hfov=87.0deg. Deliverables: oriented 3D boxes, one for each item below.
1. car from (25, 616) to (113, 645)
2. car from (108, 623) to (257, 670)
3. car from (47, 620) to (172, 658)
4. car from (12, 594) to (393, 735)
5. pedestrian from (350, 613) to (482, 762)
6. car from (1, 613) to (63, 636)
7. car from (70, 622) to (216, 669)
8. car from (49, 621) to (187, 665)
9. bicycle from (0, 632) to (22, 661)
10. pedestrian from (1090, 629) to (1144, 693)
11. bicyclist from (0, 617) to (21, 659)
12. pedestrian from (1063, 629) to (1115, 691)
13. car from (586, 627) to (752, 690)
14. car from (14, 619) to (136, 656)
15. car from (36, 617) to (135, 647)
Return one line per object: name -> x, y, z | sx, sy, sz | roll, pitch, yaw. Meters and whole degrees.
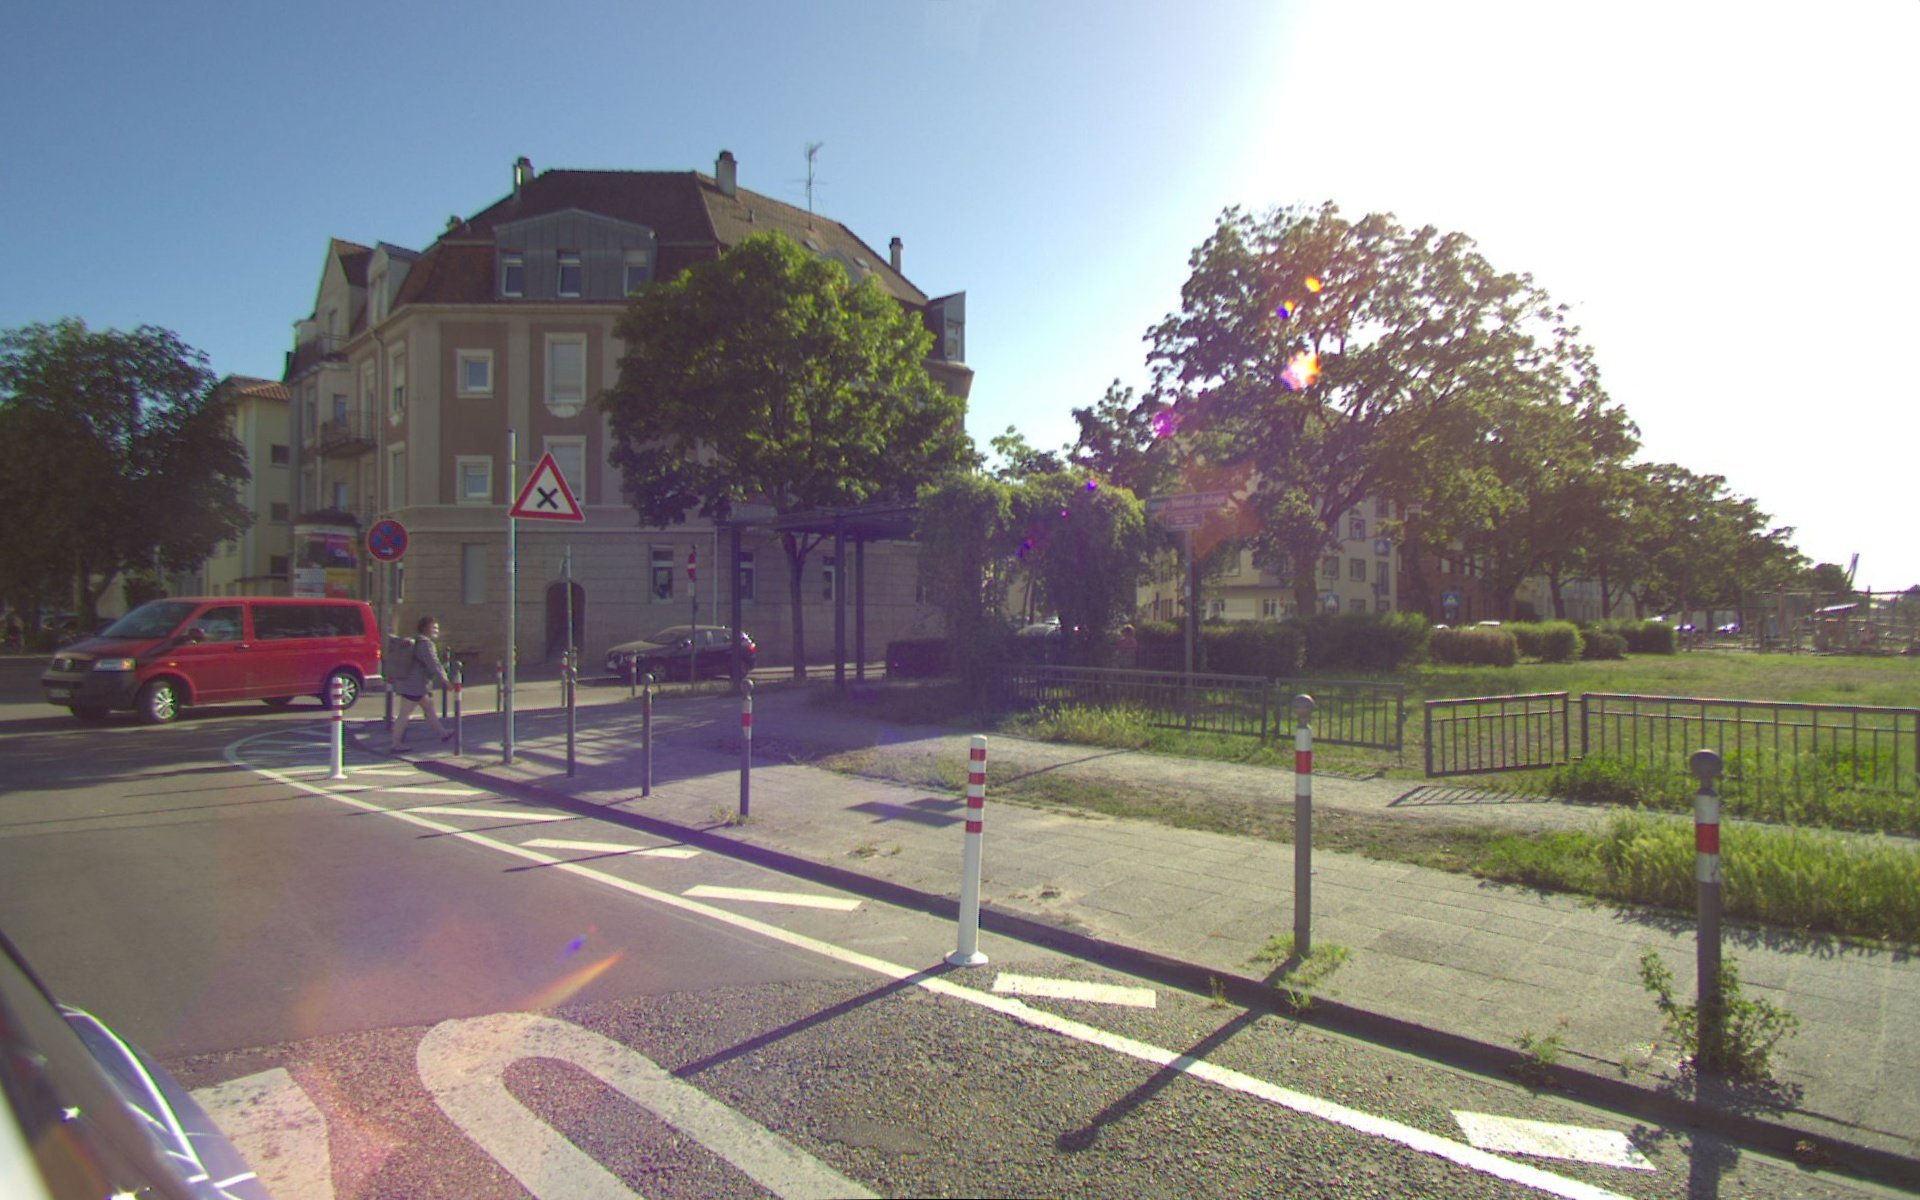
car -> -49.726, 1.674, 56.531 | 1.690, 1.506, 3.484 | -1, -1, 39
car -> -26.185, 1.521, 34.169 | 1.691, 1.455, 3.739 | -1, -1, 41
car -> -36.241, 1.629, 43.203 | 1.686, 1.506, 3.751 | -1, -1, 31
car -> -12.359, 0.947, 16.988 | 1.884, 1.975, 4.851 | 1, 0, 21
pedestrian -> -6.691, 1.030, 12.485 | 0.909, 1.686, 1.080 | -1, 1, 27
car -> -72.801, 1.875, 79.420 | 1.692, 1.716, 3.481 | -1, -1, 42
car -> -28.298, 1.533, 35.118 | 1.691, 1.506, 3.739 | -1, -1, 41
car -> -32.048, 1.603, 38.613 | 1.686, 1.506, 3.751 | -1, -1, 31
bicycle -> -37.638, 1.834, 40.065 | 0.635, 1.117, 2.066 | 2, -2, -45
pedestrian -> 2.926, 1.120, 18.815 | 0.862, 1.147, 0.599 | 2, -2, -45
bicyclist -> -37.550, 1.481, 39.984 | 0.635, 1.632, 0.637 | 2, -2, -45
pedestrian -> 2.456, 1.133, 19.309 | 0.833, 1.158, 0.599 | 2, -2, -45
car -> -7.888, 1.535, 27.651 | 1.867, 1.494, 3.960 | 3, 1, 41
car -> -39.046, 1.607, 44.753 | 1.686, 1.506, 3.751 | -1, -1, 31
car -> -46.436, 1.687, 53.782 | 1.690, 1.506, 3.742 | -1, -1, 39
